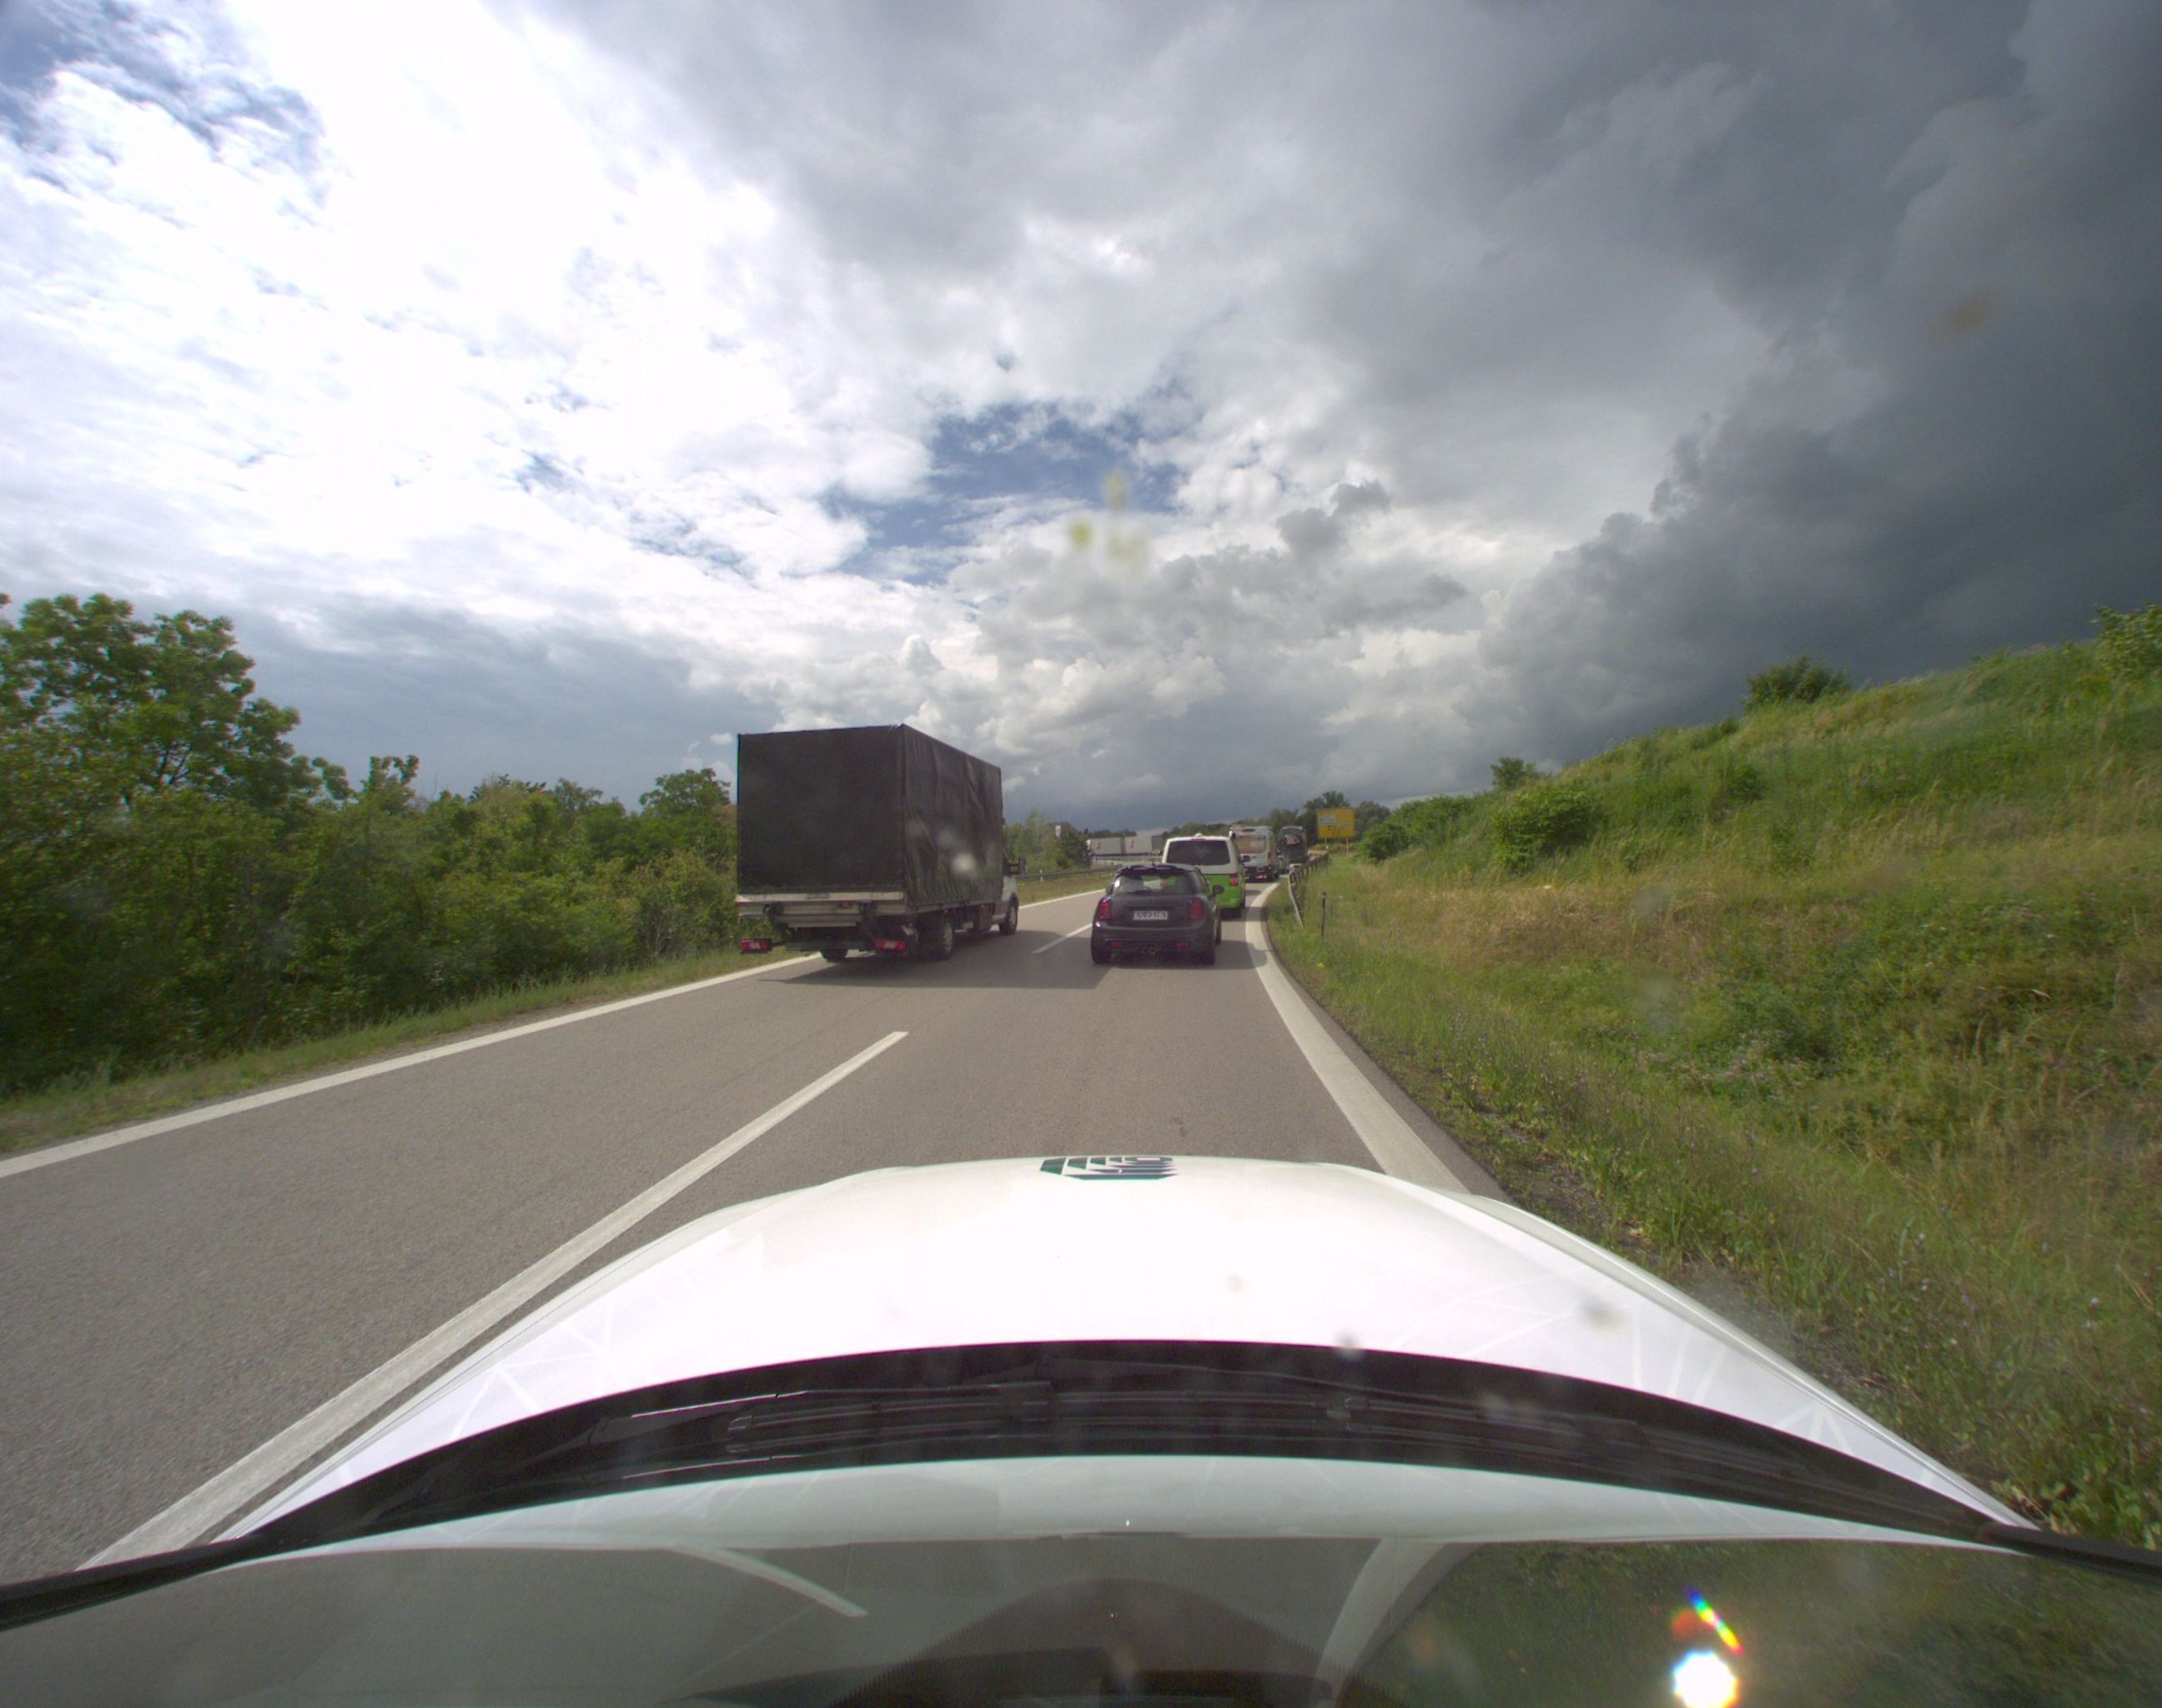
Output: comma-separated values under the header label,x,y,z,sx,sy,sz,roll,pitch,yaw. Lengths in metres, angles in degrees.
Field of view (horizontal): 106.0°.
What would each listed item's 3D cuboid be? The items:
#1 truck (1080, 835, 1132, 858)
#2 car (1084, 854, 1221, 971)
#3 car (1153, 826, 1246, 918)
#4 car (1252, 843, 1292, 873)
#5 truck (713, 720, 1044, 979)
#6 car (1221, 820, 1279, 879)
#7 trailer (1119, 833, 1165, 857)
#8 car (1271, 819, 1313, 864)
label,x,y,z,sx,sy,sz,roll,pitch,yaw
truck,4.447,-1.292,147.091,9.903,3.976,2.862,-1,-1,43
car,1.265,0.788,12.791,1.788,1.546,3.749,-1,0,10
car,3.062,0.414,20.374,1.898,2.045,4.196,-1,0,13
car,11.167,0.255,47.509,1.978,1.642,3.946,-1,-1,17
truck,-2.742,-0.006,13.841,2.544,3.168,7.489,-1,-1,10
car,8.208,-0.161,39.160,2.194,2.622,5.558,-1,-1,17
trailer,10.427,-1.409,140.211,3.058,3.898,8.679,0,-1,-34
car,15.490,-0.797,59.470,2.292,3.069,6.695,-1,-1,20
